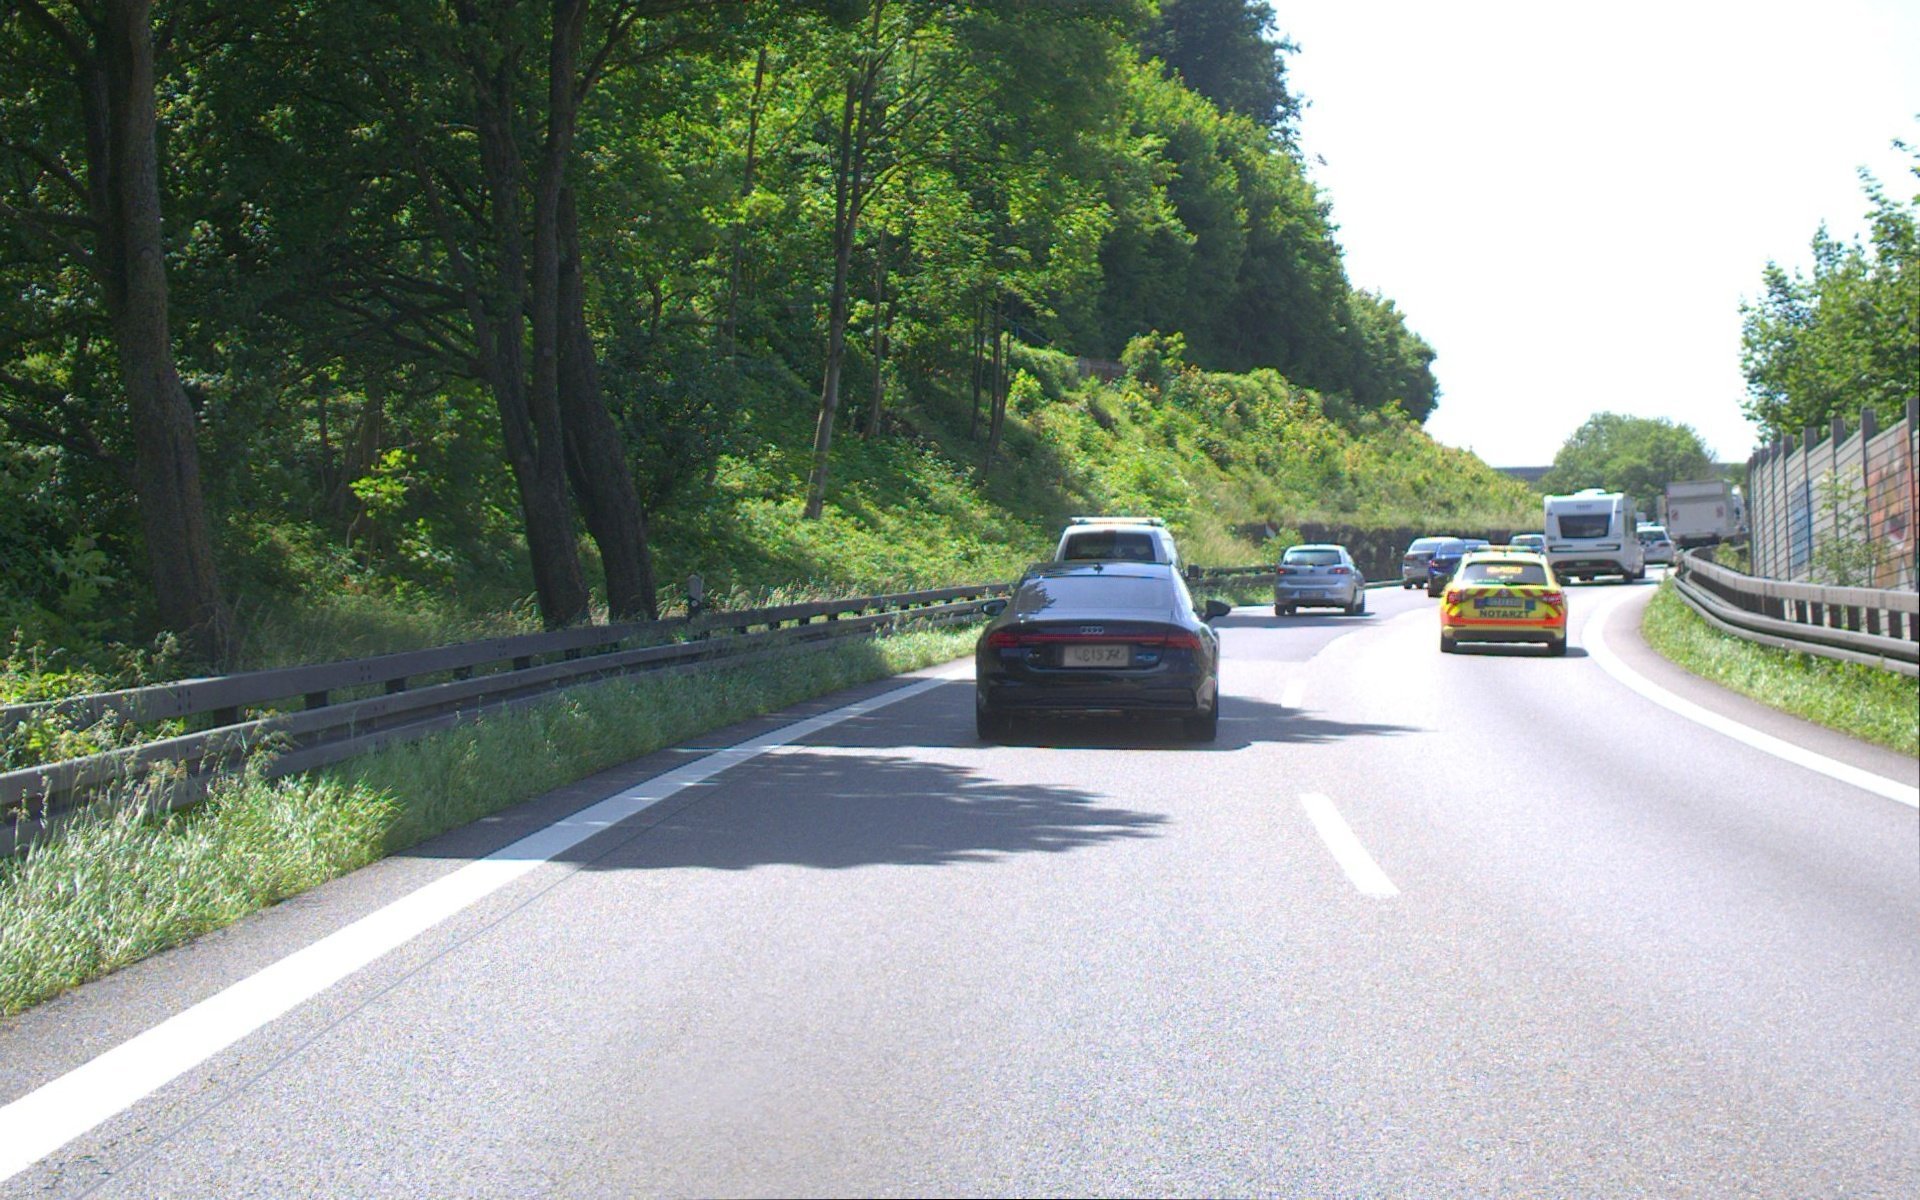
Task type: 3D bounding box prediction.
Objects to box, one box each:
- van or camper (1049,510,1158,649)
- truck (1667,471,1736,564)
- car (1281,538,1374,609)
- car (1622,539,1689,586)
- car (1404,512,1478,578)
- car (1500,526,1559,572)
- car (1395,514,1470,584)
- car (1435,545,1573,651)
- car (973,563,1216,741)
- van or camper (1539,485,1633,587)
[{"bbox_3d":[1.982,-0.270,46.649,1.392,1.809,3.999,0,0,4],"label":"van or camper"},{"bbox_3d":[33.758,-3.730,156.318,2.734,4.082,7.475,0,1,15],"label":"truck"},{"bbox_3d":[7.586,-0.532,70.741,1.747,1.426,3.999,0,0,8],"label":"car"},{"bbox_3d":[26.216,-1.408,129.506,1.995,1.711,3.996,0,1,19],"label":"car"},{"bbox_3d":[12.289,-1.392,87.978,1.774,1.631,3.999,0,0,7],"label":"car"},{"bbox_3d":[21.832,-1.952,131.745,1.842,1.711,3.997,0,1,15],"label":"car"},{"bbox_3d":[13.887,-1.514,100.974,1.994,2.007,3.998,0,1,10],"label":"car"},{"bbox_3d":[7.903,-0.040,50.241,1.863,1.483,3.999,0,0,7],"label":"car"},{"bbox_3d":[1.141,0.383,27.952,1.838,1.345,3.999,0,0,4],"label":"car"},{"bbox_3d":[18.519,-1.847,101.476,2.457,2.908,6.122,0,0,13],"label":"van or camper"}]
